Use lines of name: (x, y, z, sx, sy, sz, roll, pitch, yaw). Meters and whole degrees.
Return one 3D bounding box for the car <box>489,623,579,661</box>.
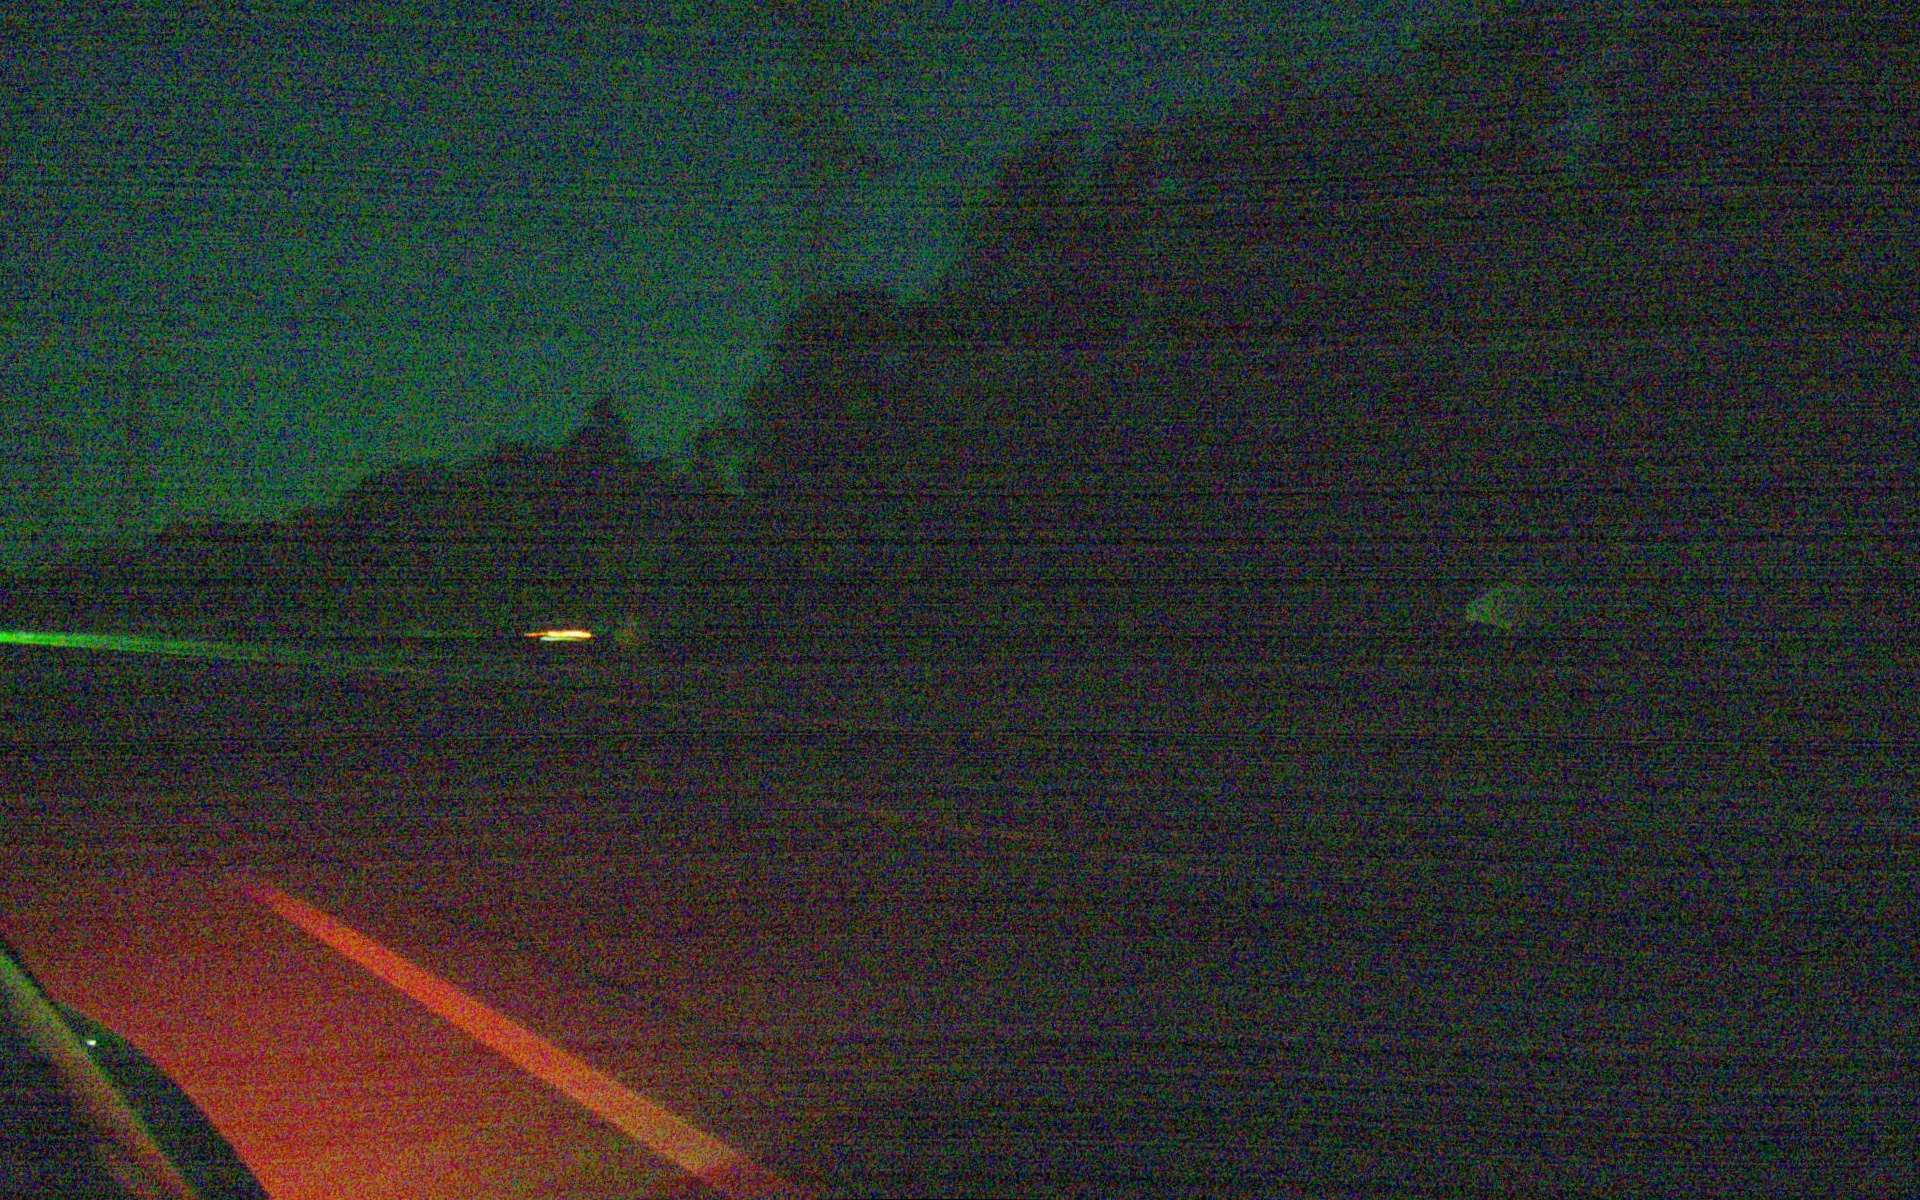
car: (-19.647, 1.893, 46.564, 4.698, 1.658, 1.879, -1, -1, 40)
